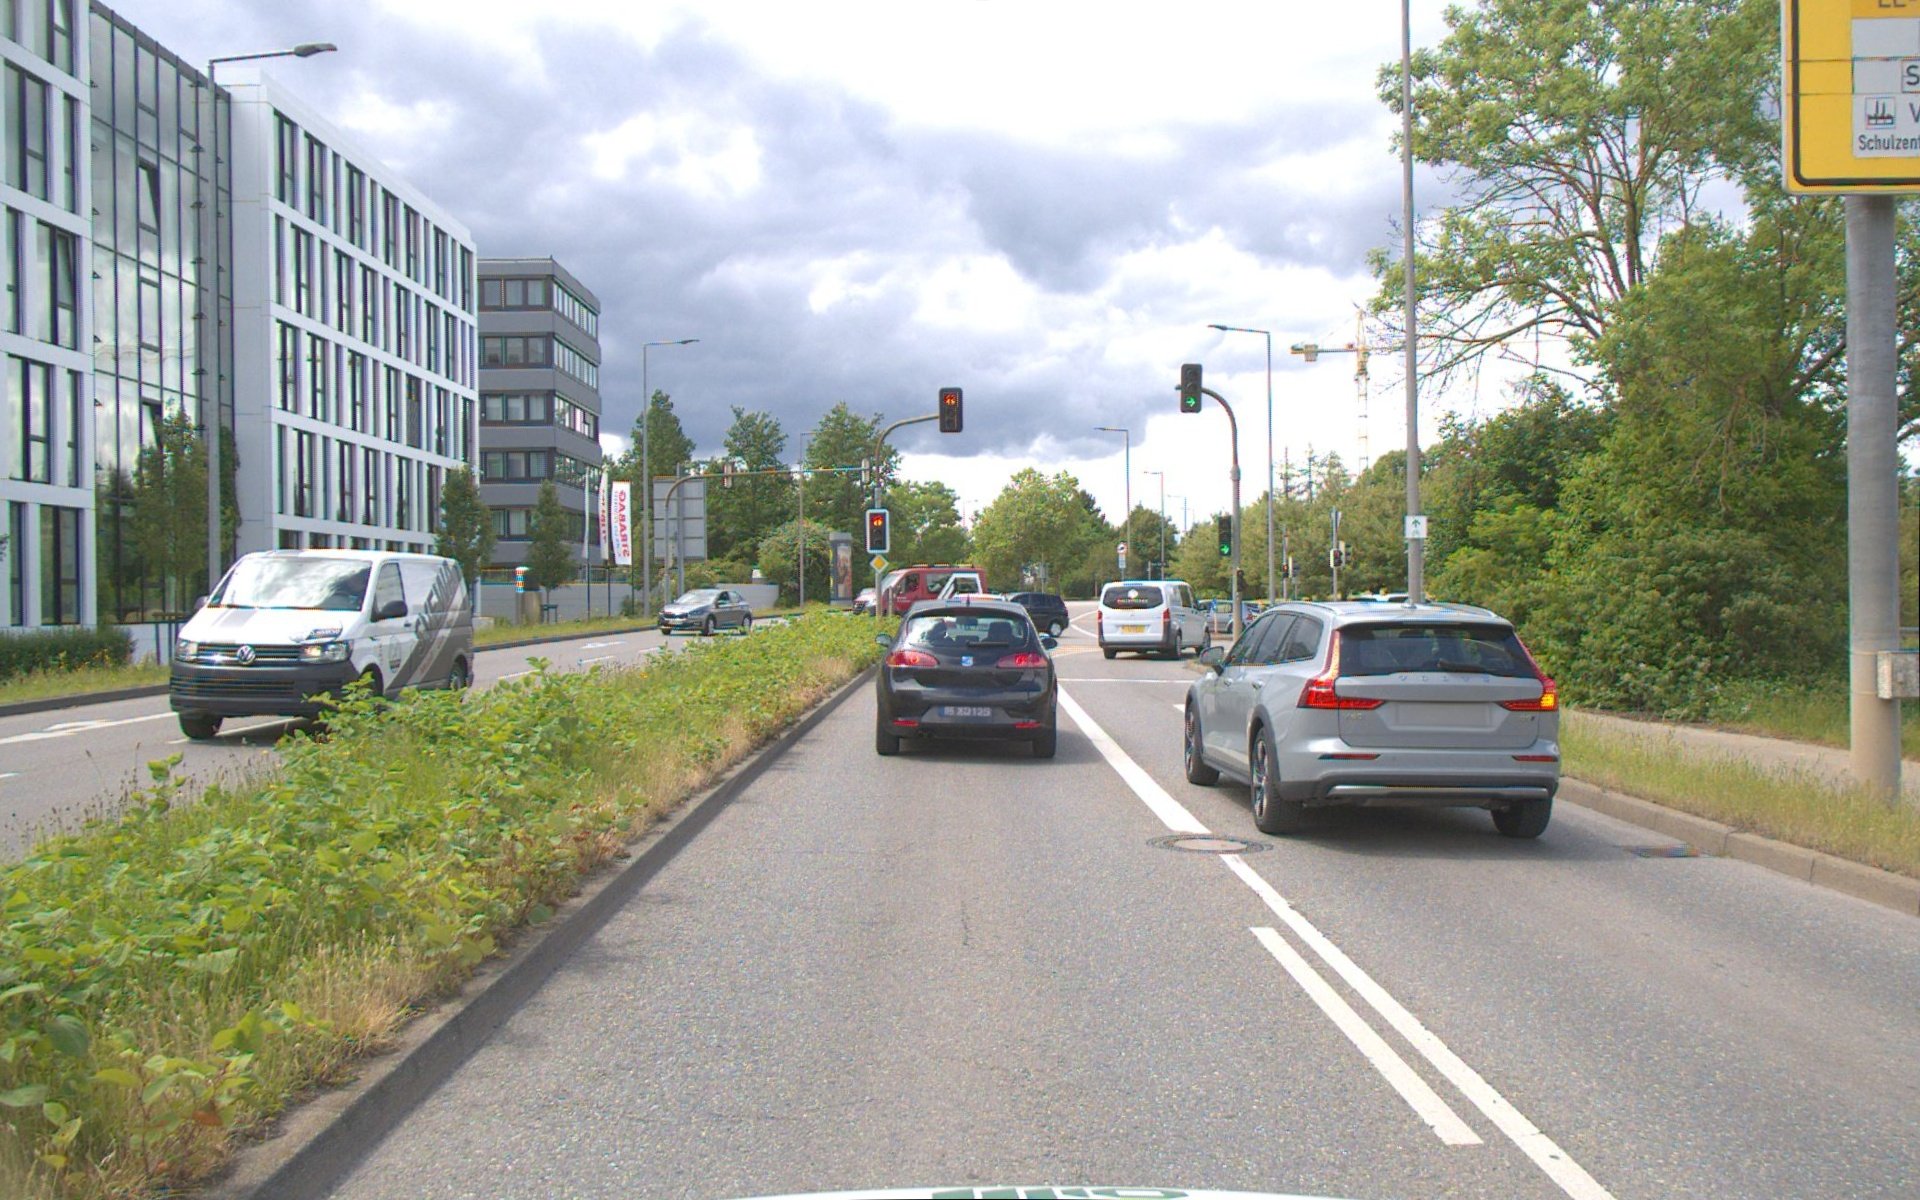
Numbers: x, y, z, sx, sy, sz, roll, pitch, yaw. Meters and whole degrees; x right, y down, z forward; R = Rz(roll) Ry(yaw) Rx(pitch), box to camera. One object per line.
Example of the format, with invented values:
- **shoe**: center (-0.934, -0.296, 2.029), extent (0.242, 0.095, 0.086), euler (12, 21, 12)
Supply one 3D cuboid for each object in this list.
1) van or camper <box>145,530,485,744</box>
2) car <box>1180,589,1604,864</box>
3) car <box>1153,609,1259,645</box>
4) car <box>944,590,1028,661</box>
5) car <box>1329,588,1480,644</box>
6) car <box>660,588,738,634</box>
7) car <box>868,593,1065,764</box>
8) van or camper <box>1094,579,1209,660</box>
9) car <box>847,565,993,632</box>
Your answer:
- **van or camper**: center (-6.925, 0.349, 18.395), extent (1.953, 2.049, 4.815), euler (0, 0, -1)
- **car**: center (2.768, 0.707, 11.694), extent (1.825, 1.545, 4.446), euler (-1, 0, 0)
- **car**: center (9.632, 1.045, 64.959), extent (3.904, 1.378, 2.000), euler (0, 0, 1)
- **car**: center (0.549, 0.541, 37.813), extent (1.737, 1.517, 3.581), euler (-1, 0, -2)
- **car**: center (13.238, 0.460, 49.360), extent (3.916, 1.624, 1.995), euler (0, 0, -11)
- **car**: center (-8.379, 0.320, 53.367), extent (1.893, 1.422, 4.000), euler (0, 0, 0)
- **car**: center (0.071, 0.690, 16.486), extent (1.737, 1.477, 3.582), euler (1, 0, 0)
- **van or camper**: center (4.863, 0.450, 41.323), extent (1.951, 1.892, 4.946), euler (0, 0, 17)
- **car**: center (-1.511, -0.062, 62.575), extent (5.150, 2.454, 1.987), euler (0, 0, -22)
